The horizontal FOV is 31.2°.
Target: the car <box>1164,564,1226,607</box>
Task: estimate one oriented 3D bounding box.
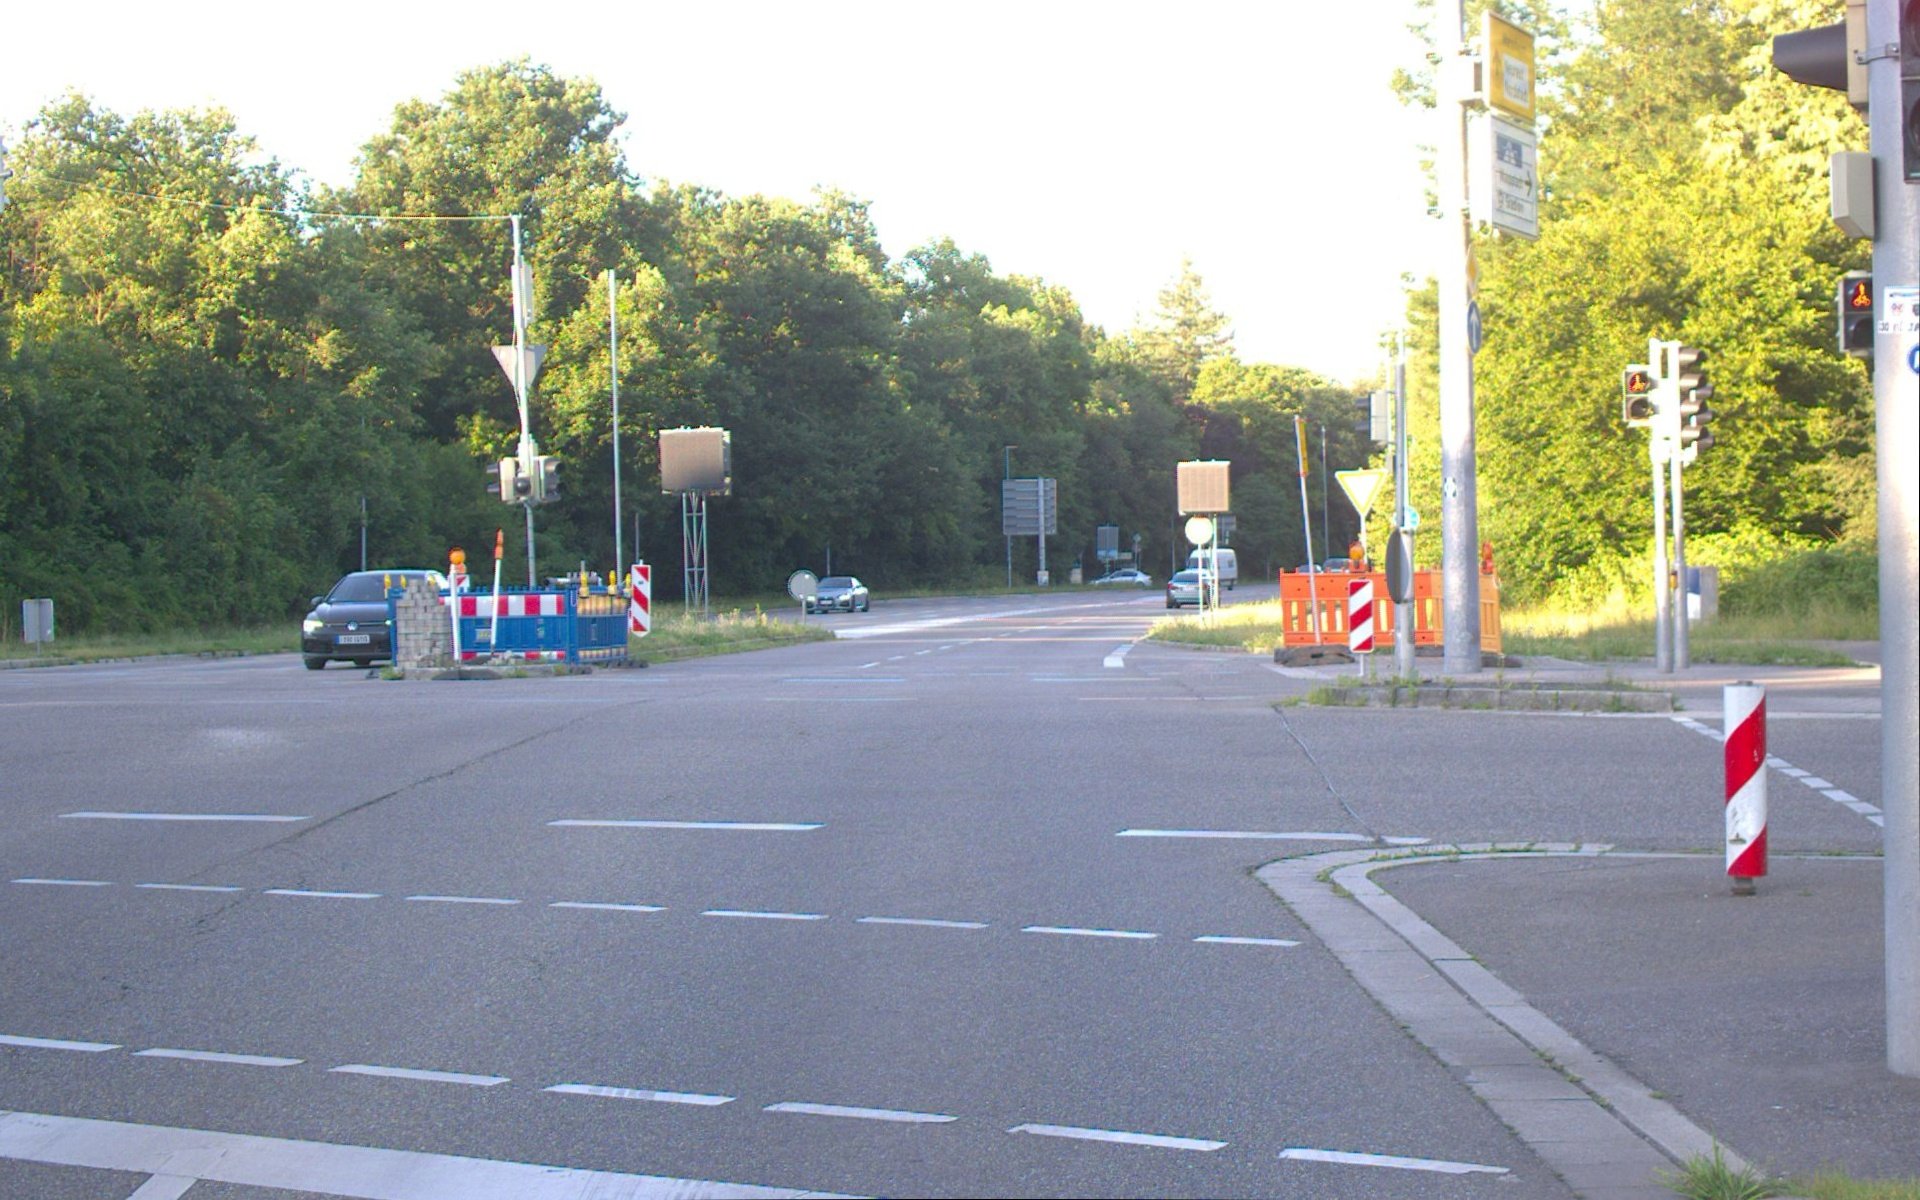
[{"bbox_3d":[9.275,-0.581,135.551,1.994,1.612,3.998,-1,1,10],"label":"car"}]

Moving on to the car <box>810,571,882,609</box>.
[{"bbox_3d":[-4.398,-0.400,133.140,1.994,1.415,3.999,-1,1,10],"label":"car"}]

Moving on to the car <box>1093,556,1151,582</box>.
[{"bbox_3d":[11.457,-2.176,242.912,3.987,1.718,1.845,1,0,3],"label":"car"}]

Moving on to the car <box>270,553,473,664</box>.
[{"bbox_3d":[-8.639,0.088,50.855,1.994,1.524,4.678,-1,1,2],"label":"car"}]
